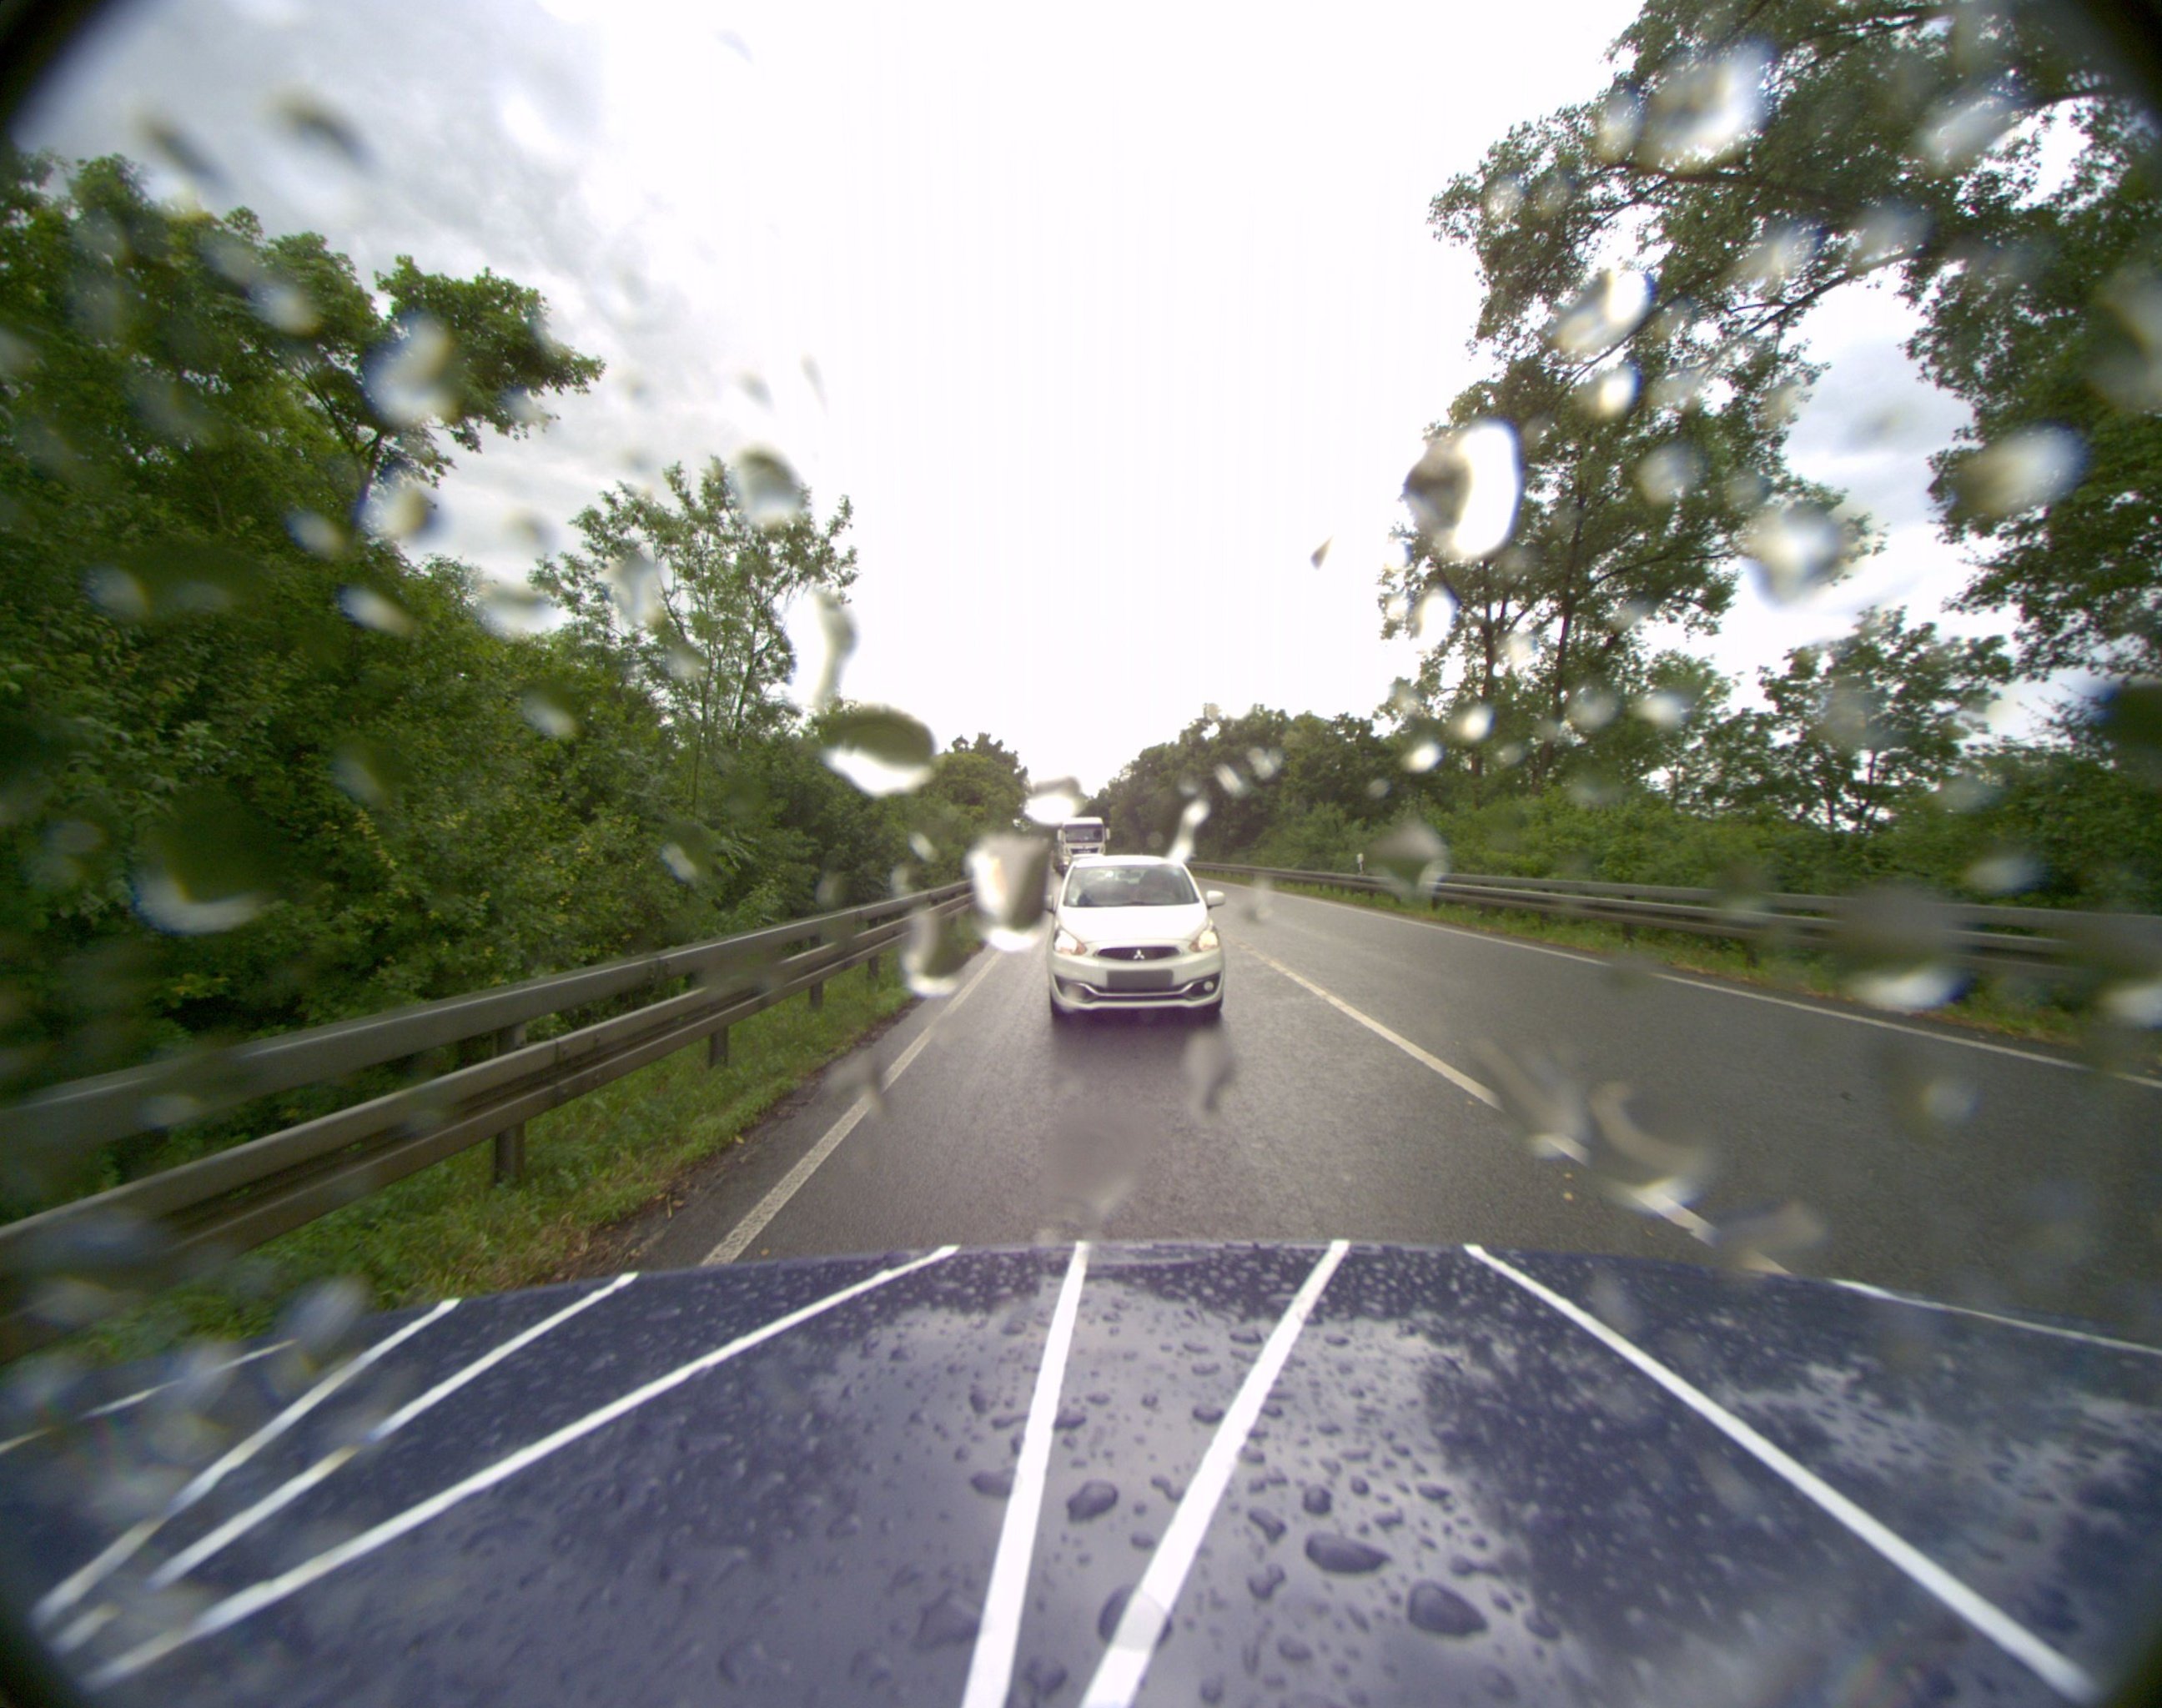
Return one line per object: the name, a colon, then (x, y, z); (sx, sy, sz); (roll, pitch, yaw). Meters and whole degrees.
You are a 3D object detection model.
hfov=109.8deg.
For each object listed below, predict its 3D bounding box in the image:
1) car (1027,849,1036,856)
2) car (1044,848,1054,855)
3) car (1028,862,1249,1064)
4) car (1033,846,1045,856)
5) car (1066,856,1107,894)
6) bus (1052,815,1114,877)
car: (-9.667, -0.292, 148.115); (1.394, 1.470, 3.225); (-1, 1, -8)
car: (-6.152, -0.514, 145.083); (1.377, 1.281, 3.250); (-2, 1, -10)
car: (0.499, 0.885, 8.019); (1.700, 1.471, 4.063); (-2, 1, 1)
car: (-8.816, -0.644, 159.722); (2.000, 1.936, 3.996); (-2, 1, -10)
car: (0.261, 0.783, 29.746); (1.475, 1.410, 3.429); (-1, 0, 2)
bus: (-0.155, -0.503, 50.095); (3.064, 3.405, 13.634); (-2, 0, -4)
